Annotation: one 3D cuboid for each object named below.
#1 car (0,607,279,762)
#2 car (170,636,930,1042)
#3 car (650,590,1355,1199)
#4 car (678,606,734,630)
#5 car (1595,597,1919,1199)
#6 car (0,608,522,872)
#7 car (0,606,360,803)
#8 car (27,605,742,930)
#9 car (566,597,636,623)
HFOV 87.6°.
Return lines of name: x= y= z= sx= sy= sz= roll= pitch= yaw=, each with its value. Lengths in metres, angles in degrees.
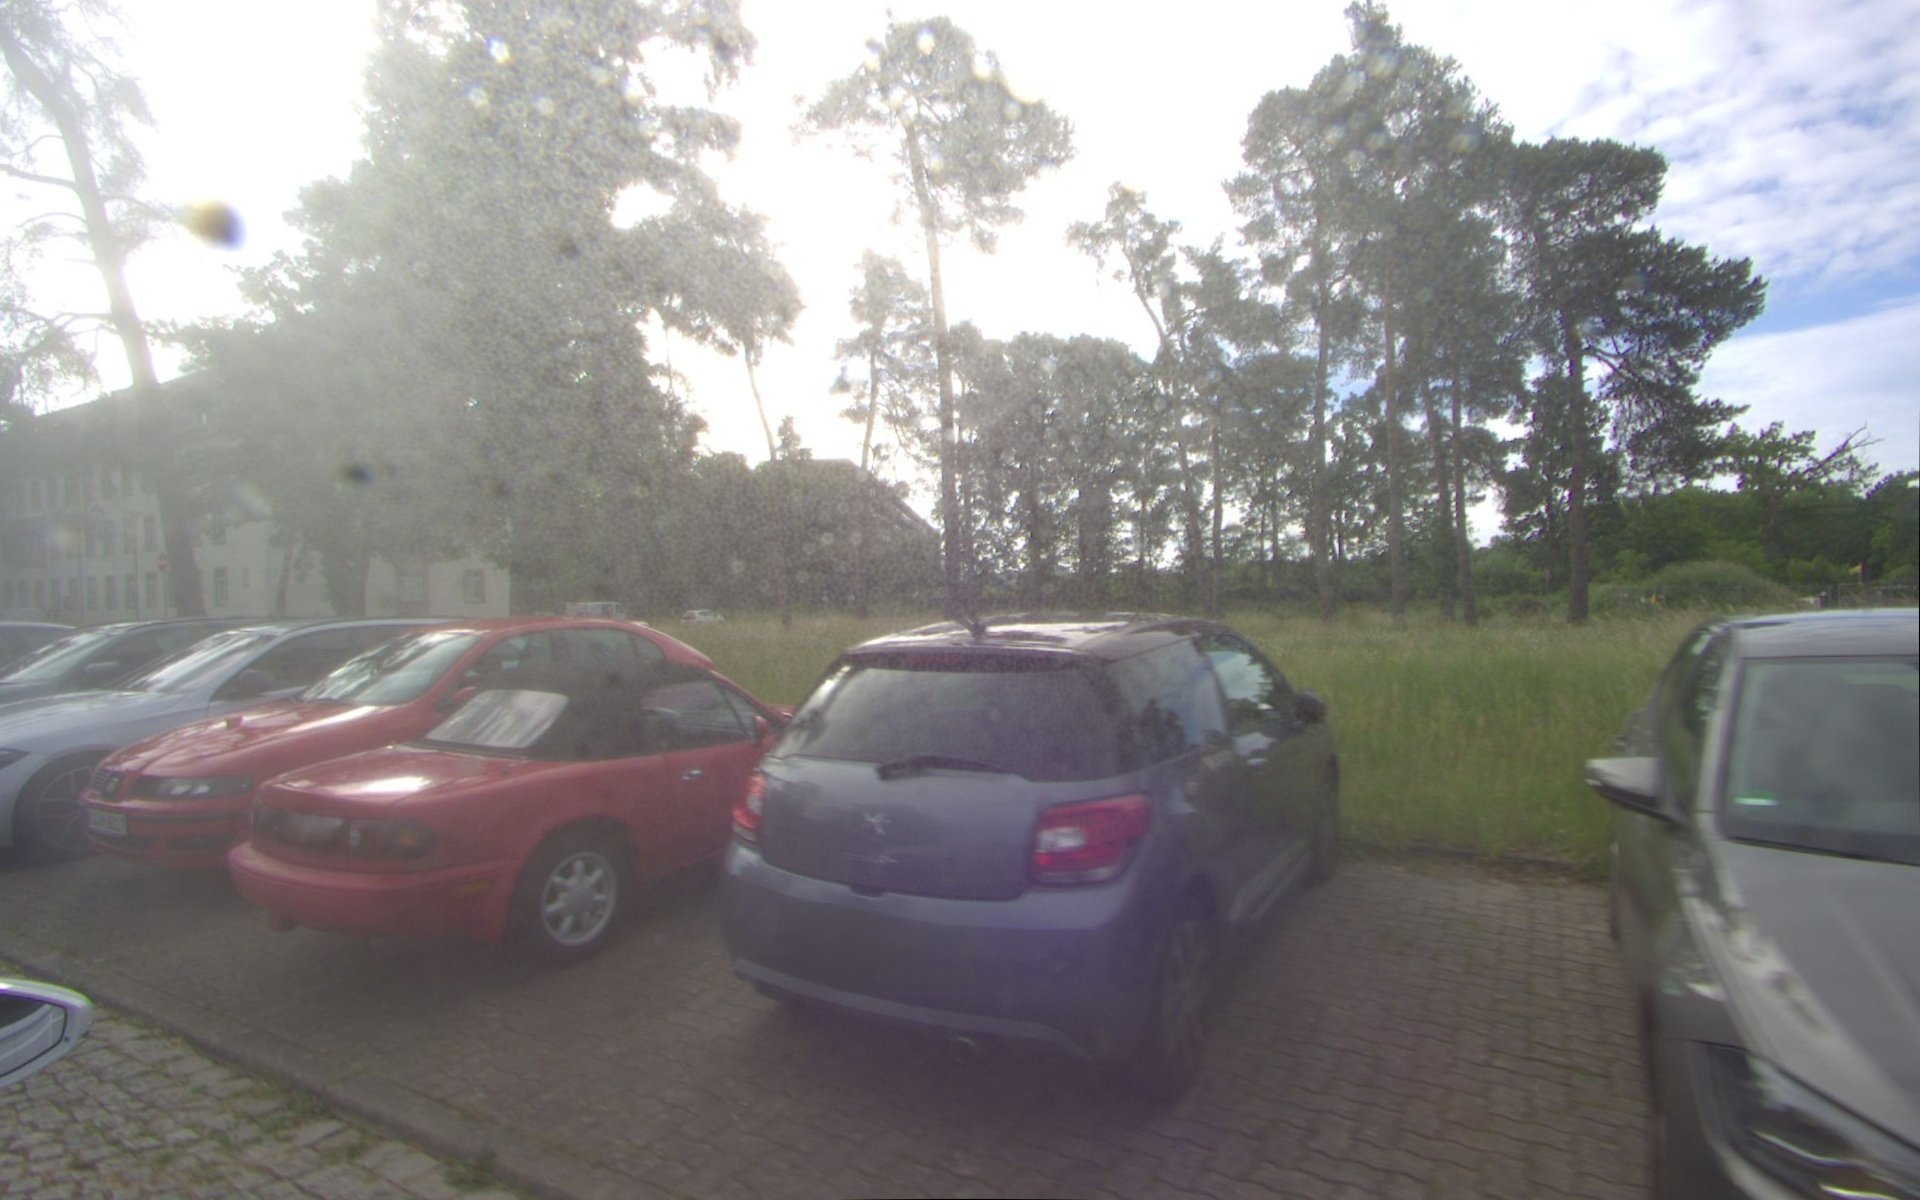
car: x=-10.072 y=0.876 z=10.909 sx=1.607 sy=1.483 sz=4.134 roll=0 pitch=1 yaw=25
car: x=-1.810 y=0.910 z=5.466 sx=1.605 sy=1.239 sz=3.579 roll=0 pitch=1 yaw=31
car: x=0.580 y=0.738 z=4.435 sx=1.717 sy=1.507 sz=3.500 roll=0 pitch=1 yaw=29
car: x=-19.757 y=1.434 z=77.962 sx=1.873 sy=1.827 sz=4.126 roll=-1 pitch=-2 yaw=32
car: x=2.867 y=0.760 z=2.744 sx=1.739 sy=1.467 sz=4.123 roll=0 pitch=1 yaw=30
car: x=-5.762 y=0.853 z=7.889 sx=1.726 sy=1.456 sz=4.186 roll=-1 pitch=1 yaw=23
car: x=-8.104 y=0.865 z=9.285 sx=1.679 sy=1.499 sz=4.233 roll=-1 pitch=1 yaw=19
car: x=-3.552 y=0.831 z=7.067 sx=1.658 sy=1.496 sz=4.100 roll=0 pitch=1 yaw=28
car: x=-29.457 y=0.875 z=82.299 sx=2.075 sy=2.045 sz=5.293 roll=-1 pitch=-2 yaw=31
